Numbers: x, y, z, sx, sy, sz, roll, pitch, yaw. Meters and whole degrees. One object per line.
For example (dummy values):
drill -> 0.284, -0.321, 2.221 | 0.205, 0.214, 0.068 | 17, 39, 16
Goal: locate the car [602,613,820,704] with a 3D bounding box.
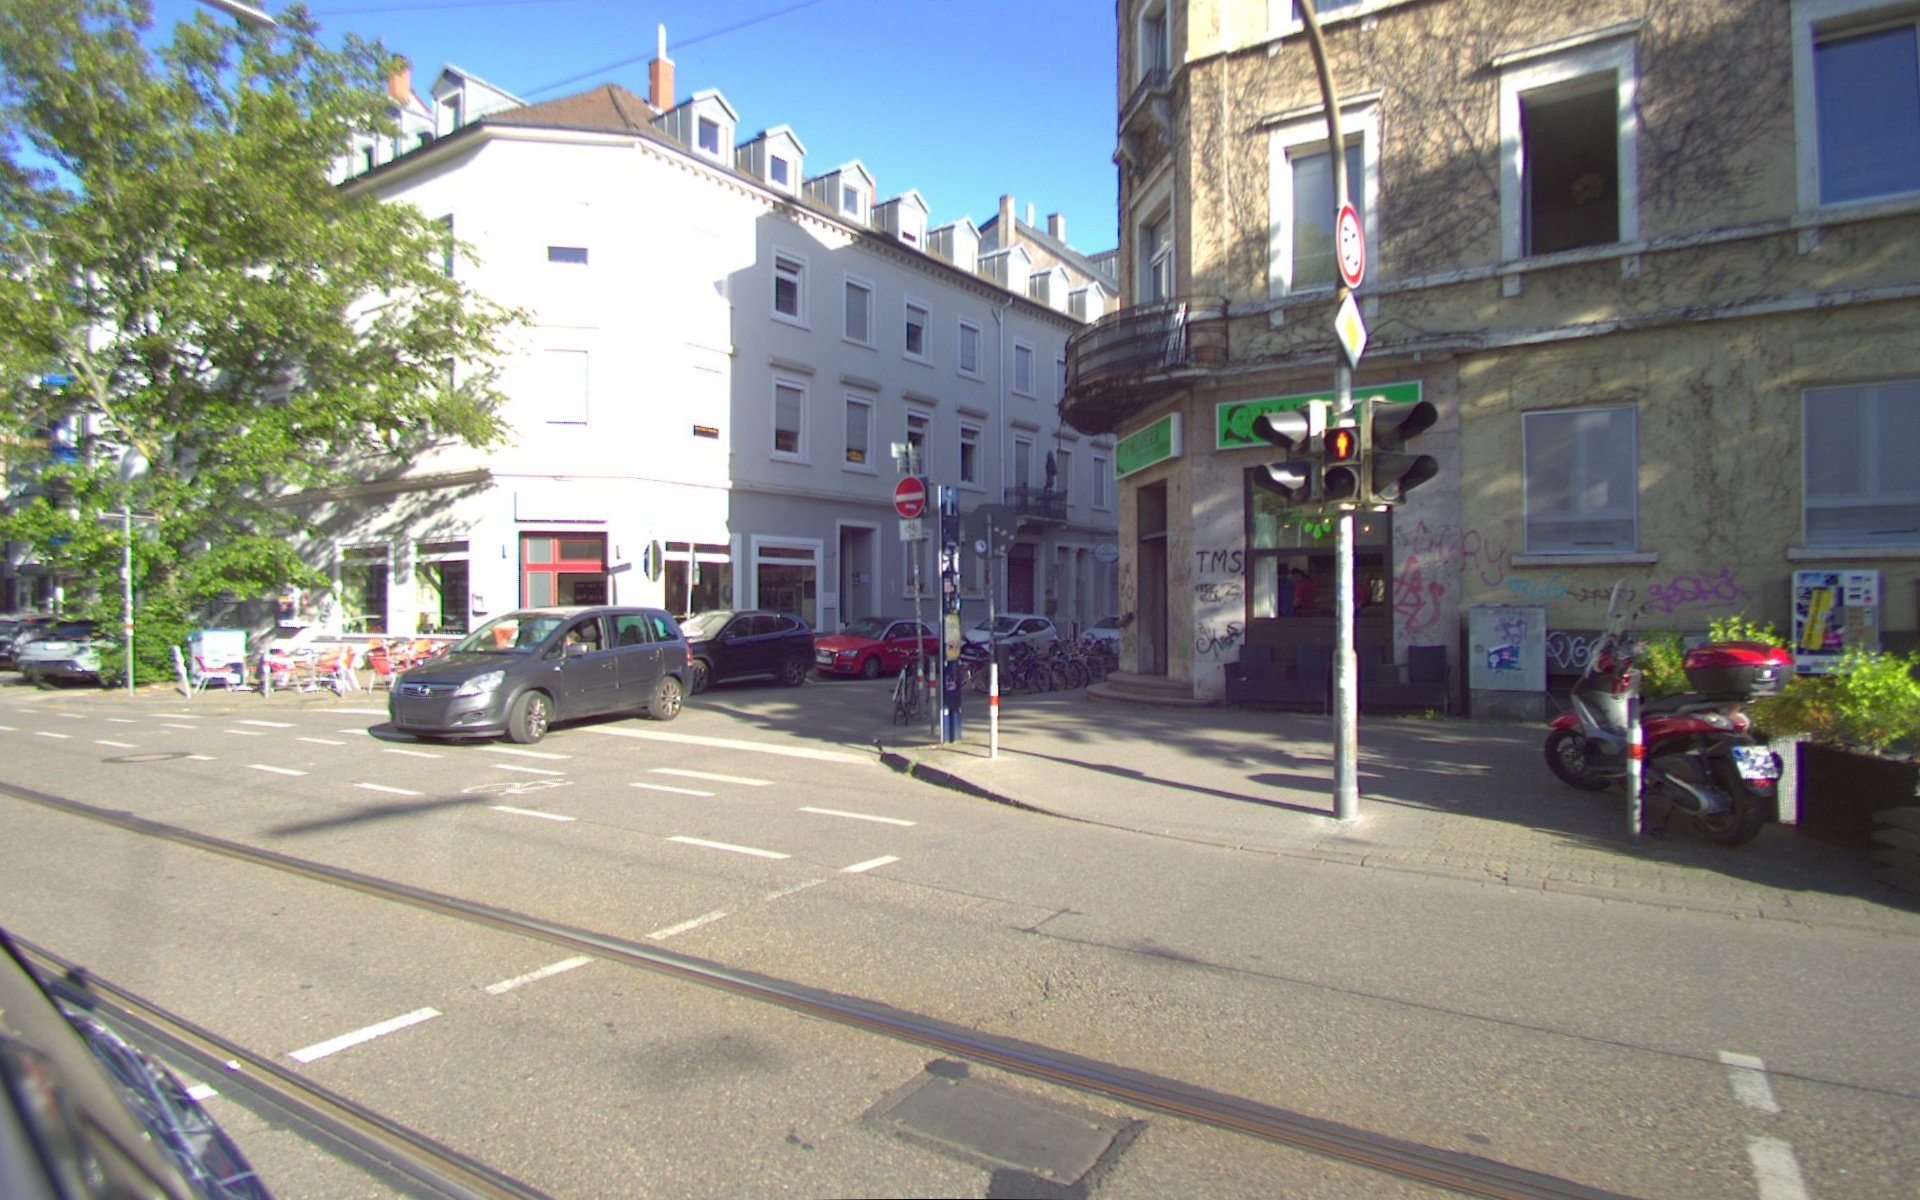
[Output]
car -> -4.973, 1.135, 20.698 | 1.763, 1.675, 4.145 | -3, -3, 37

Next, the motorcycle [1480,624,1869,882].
motorcycle -> 4.694, 0.901, 6.983 | 0.987, 1.361, 2.420 | 0, 1, 1

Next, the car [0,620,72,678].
car -> -26.777, 1.354, 27.258 | 1.606, 1.499, 4.112 | 0, 0, 17

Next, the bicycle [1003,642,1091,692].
bicycle -> 1.767, 1.345, 20.691 | 1.761, 0.969, 0.477 | -1, -1, 27

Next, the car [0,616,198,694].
car -> -20.251, 1.208, 23.819 | 1.597, 1.567, 4.136 | 0, 0, -1

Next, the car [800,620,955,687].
car -> -1.964, 1.282, 25.060 | 1.648, 1.514, 3.905 | -3, -3, 37

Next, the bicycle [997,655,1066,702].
bicycle -> 1.410, 1.534, 19.946 | 1.307, 0.824, 0.378 | 2, 0, 30

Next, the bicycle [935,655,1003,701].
bicycle -> 0.165, 1.494, 19.437 | 1.307, 0.824, 0.368 | -1, -2, 30

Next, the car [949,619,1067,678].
car -> 1.463, 1.395, 29.601 | 1.639, 1.599, 3.741 | -3, -3, 37

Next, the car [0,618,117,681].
car -> -24.755, 1.289, 26.348 | 1.607, 1.499, 4.111 | 0, 0, 18

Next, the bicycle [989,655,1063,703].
bicycle -> 1.275, 1.527, 19.657 | 1.385, 0.824, 0.358 | 2, 0, 30

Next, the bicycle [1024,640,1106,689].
bicycle -> 2.192, 1.346, 21.254 | 1.768, 0.969, 0.437 | -1, -2, 38

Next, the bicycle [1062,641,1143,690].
bicycle -> 3.106, 1.411, 22.135 | 1.768, 0.996, 0.457 | -1, -2, 38

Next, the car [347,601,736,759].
car -> -5.182, 0.940, 13.484 | 1.786, 1.675, 5.149 | -2, -2, 20

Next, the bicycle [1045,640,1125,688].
bicycle -> 2.695, 1.370, 21.905 | 1.768, 0.969, 0.400 | -1, -2, 38

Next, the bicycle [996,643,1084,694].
bicycle -> 1.593, 1.366, 20.331 | 1.764, 0.969, 0.423 | -1, -2, 32

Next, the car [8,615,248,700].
car -> -18.068, 1.176, 22.253 | 1.601, 1.567, 4.126 | 0, 0, 8

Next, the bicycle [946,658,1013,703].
bicycle -> 0.380, 1.558, 19.751 | 1.307, 0.824, 0.352 | -1, -2, 30

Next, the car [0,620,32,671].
car -> -30.156, 1.384, 29.644 | 1.612, 1.499, 4.099 | 0, 1, 26

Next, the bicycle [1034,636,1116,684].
bicycle -> 2.436, 1.272, 21.581 | 1.768, 0.969, 0.417 | -1, -2, 38

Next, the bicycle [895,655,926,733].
bicycle -> -0.726, 1.364, 15.084 | 0.444, 1.054, 1.665 | 0, -2, -2

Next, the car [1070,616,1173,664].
car -> 5.550, 1.326, 34.462 | 1.682, 1.522, 4.137 | -3, -3, 38

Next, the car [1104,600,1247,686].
car -> 5.571, 1.025, 25.733 | 1.683, 1.924, 4.460 | 3, 1, 39

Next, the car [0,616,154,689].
car -> -22.263, 1.222, 24.615 | 1.604, 1.567, 4.120 | 0, 0, 12

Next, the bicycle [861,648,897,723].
bicycle -> -1.191, 1.252, 15.075 | 0.451, 1.054, 1.688 | 0, -3, -2

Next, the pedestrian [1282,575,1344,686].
pedestrian -> 5.725, 0.494, 16.433 | 0.683, 1.754, 0.649 | 1, -2, -26
